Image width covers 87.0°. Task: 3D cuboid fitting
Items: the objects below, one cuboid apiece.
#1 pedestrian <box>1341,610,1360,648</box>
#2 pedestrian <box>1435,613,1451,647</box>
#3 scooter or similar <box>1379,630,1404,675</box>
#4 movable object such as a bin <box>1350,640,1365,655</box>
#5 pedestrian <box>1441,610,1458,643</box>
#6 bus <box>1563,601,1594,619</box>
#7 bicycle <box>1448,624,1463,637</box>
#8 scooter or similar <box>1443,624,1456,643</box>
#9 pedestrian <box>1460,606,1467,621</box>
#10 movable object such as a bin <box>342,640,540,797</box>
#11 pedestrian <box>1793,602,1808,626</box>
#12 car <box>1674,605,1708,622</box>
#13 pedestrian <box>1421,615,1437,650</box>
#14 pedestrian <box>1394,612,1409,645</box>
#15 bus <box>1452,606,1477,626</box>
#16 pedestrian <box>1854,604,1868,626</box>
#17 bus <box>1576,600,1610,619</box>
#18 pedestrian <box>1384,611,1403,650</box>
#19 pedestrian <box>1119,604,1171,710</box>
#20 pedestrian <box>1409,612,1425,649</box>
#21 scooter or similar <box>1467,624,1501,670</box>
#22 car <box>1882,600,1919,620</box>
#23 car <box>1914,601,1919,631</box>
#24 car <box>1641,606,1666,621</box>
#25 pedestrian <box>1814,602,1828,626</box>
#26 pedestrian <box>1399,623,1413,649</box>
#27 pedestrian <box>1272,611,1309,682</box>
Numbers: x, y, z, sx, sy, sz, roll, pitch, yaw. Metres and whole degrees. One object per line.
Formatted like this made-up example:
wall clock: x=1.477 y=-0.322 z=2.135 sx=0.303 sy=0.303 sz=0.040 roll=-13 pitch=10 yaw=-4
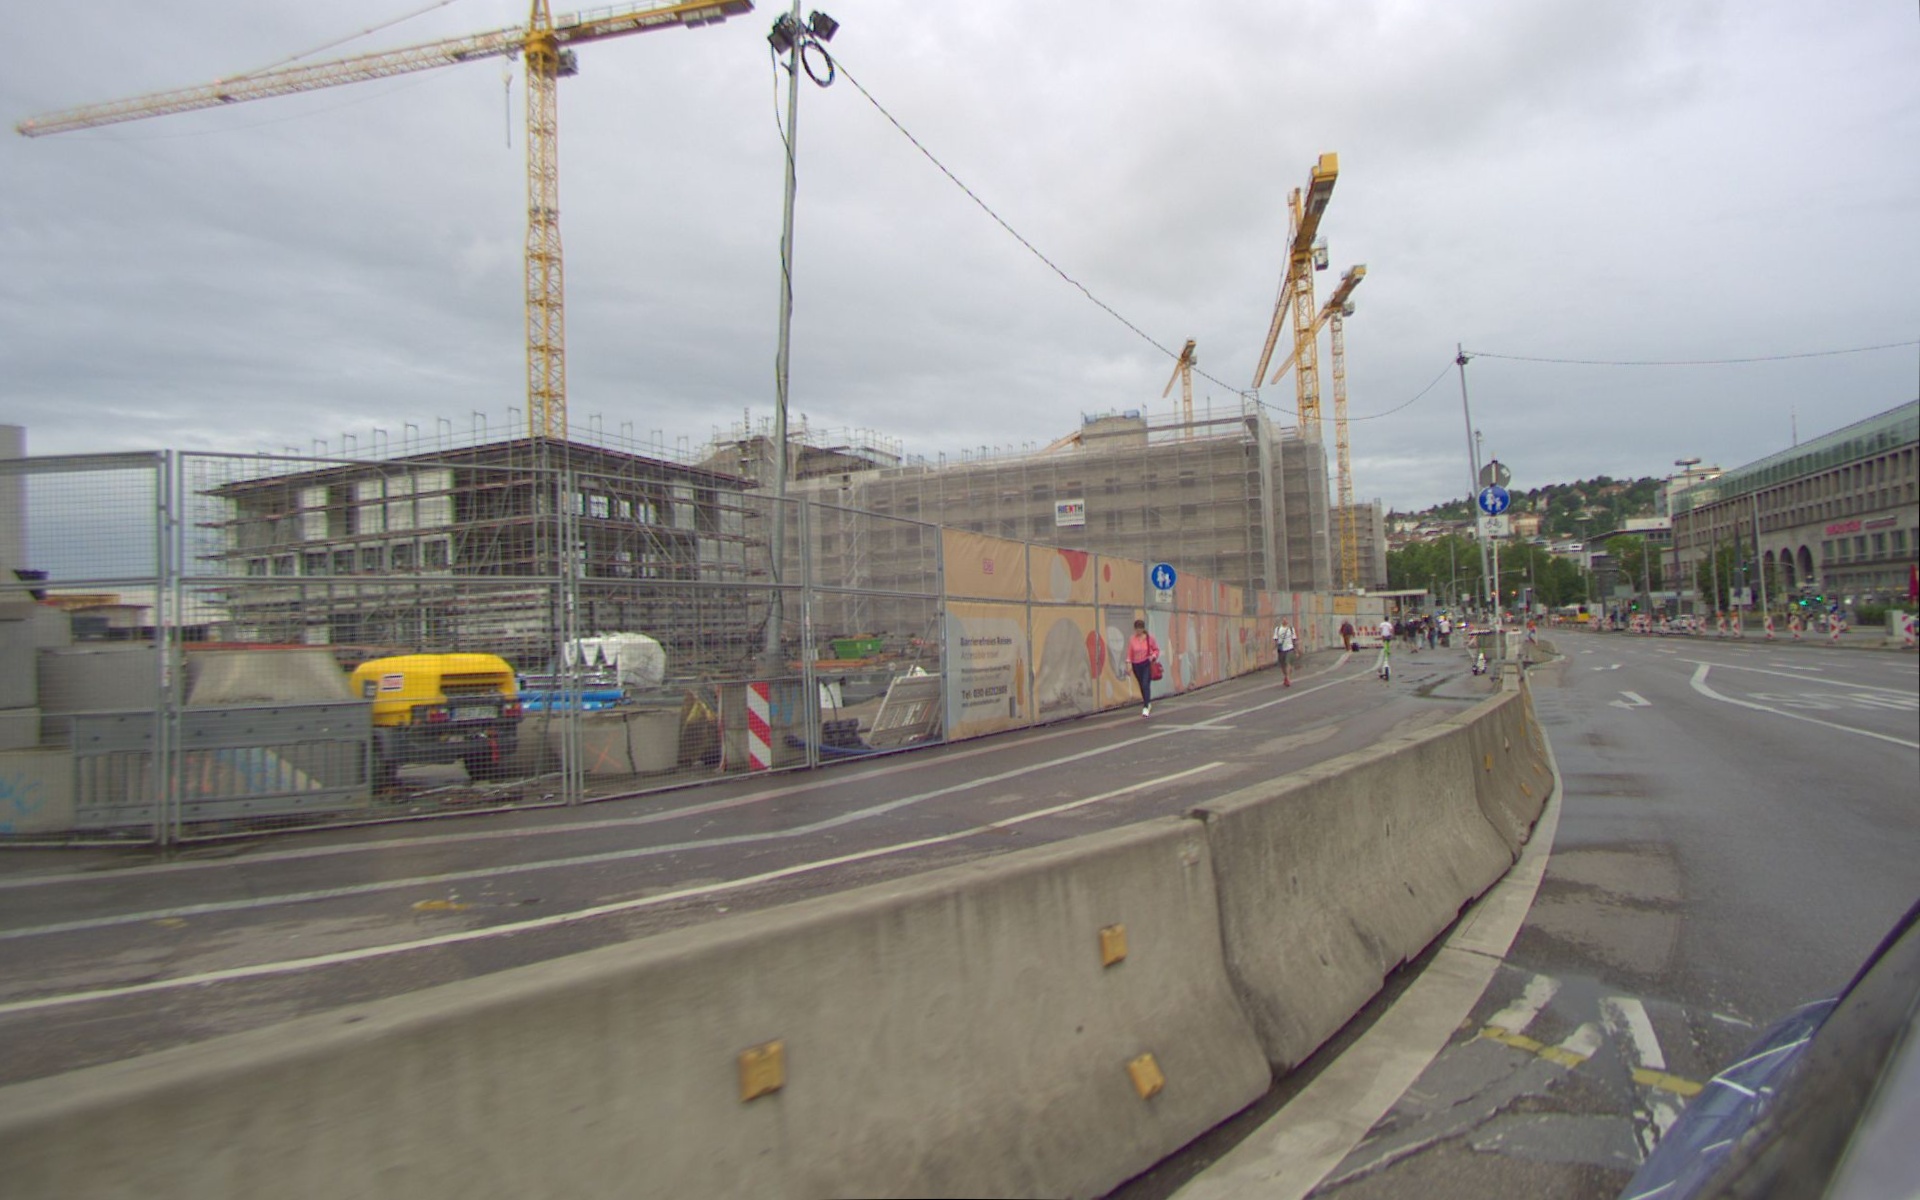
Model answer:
pedestrian: x=20.260 y=1.510 z=52.473 sx=0.762 sy=1.920 sz=0.647 roll=-3 pitch=-3 yaw=29
pedestrian: x=27.241 y=1.701 z=57.118 sx=0.680 sy=1.914 sz=0.686 roll=-3 pitch=-3 yaw=30
scooter or similar: x=11.990 y=1.449 z=28.125 sx=0.462 sy=1.198 sz=1.406 roll=-3 pitch=-2 yaw=18
movable object such as a bin: x=20.698 y=2.472 z=52.664 sx=0.593 sy=0.743 sz=0.770 roll=-3 pitch=1 yaw=30
pedestrian: x=30.826 y=1.662 z=63.737 sx=0.798 sy=2.043 sz=0.962 roll=-3 pitch=-3 yaw=29
bus: x=111.251 y=1.860 z=182.119 sx=2.875 sy=2.978 sz=9.752 roll=-2 pitch=-2 yaw=21
bicycle: x=46.705 y=2.906 z=95.371 sx=0.753 sy=1.148 sz=1.961 roll=0 pitch=0 yaw=43
scooter or similar: x=31.278 y=2.146 z=64.633 sx=0.661 sy=1.214 sz=1.033 roll=-3 pitch=-3 yaw=29
pedestrian: x=65.505 y=1.760 z=131.634 sx=0.725 sy=2.040 sz=0.642 roll=-2 pitch=-2 yaw=18
movable object such as a bin: x=-5.702 y=1.219 z=11.104 sx=1.881 sy=1.489 sz=1.174 roll=-1 pitch=0 yaw=34
pedestrian: x=71.474 y=1.195 z=86.072 sx=0.698 sy=2.040 sz=0.800 roll=-3 pitch=-2 yaw=24
car: x=75.952 y=1.391 z=105.254 sx=1.809 sy=1.691 sz=4.463 roll=-3 pitch=-2 yaw=23
pedestrian: x=26.631 y=1.845 z=57.468 sx=0.680 sy=1.914 sz=0.686 roll=-3 pitch=-3 yaw=30
pedestrian: x=25.698 y=1.657 z=58.893 sx=0.679 sy=1.914 sz=0.687 roll=-3 pitch=-3 yaw=26
bus: x=85.800 y=2.677 z=172.309 sx=2.965 sy=3.179 sz=7.708 roll=-3 pitch=-2 yaw=21
pedestrian: x=69.980 y=1.168 z=78.607 sx=0.558 sy=1.690 sz=0.747 roll=-3 pitch=-2 yaw=22
bus: x=107.273 y=1.633 z=171.647 sx=2.875 sy=2.978 sz=9.752 roll=-2 pitch=-2 yaw=21
pedestrian: x=20.163 y=1.405 z=47.083 sx=0.678 sy=1.763 sz=0.899 roll=-3 pitch=-3 yaw=26
pedestrian: x=3.412 y=1.044 z=18.648 sx=0.714 sy=1.890 sz=0.703 roll=-3 pitch=-3 yaw=26
pedestrian: x=22.348 y=1.477 z=49.493 sx=0.638 sy=1.763 sz=0.830 roll=-3 pitch=-3 yaw=27
scooter or similar: x=14.863 y=1.314 z=28.687 sx=0.671 sy=1.230 sz=1.553 roll=-3 pitch=-3 yaw=32
car: x=82.573 y=0.819 z=87.305 sx=4.057 sy=1.661 sz=1.787 roll=-3 pitch=-2 yaw=30
car: x=61.492 y=0.936 z=62.564 sx=1.885 sy=1.954 sz=5.034 roll=-2 pitch=-3 yaw=23
car: x=84.079 y=1.667 z=122.783 sx=1.761 sy=1.691 sz=4.460 roll=-2 pitch=-2 yaw=25
pedestrian: x=71.572 y=1.133 z=84.107 sx=0.584 sy=1.950 sz=0.746 roll=-3 pitch=-2 yaw=24
pedestrian: x=33.754 y=2.710 z=76.616 sx=0.843 sy=1.920 sz=0.655 roll=-3 pitch=-3 yaw=29
pedestrian: x=8.950 y=1.254 z=27.405 sx=0.699 sy=1.890 sz=0.980 roll=-3 pitch=-3 yaw=28
